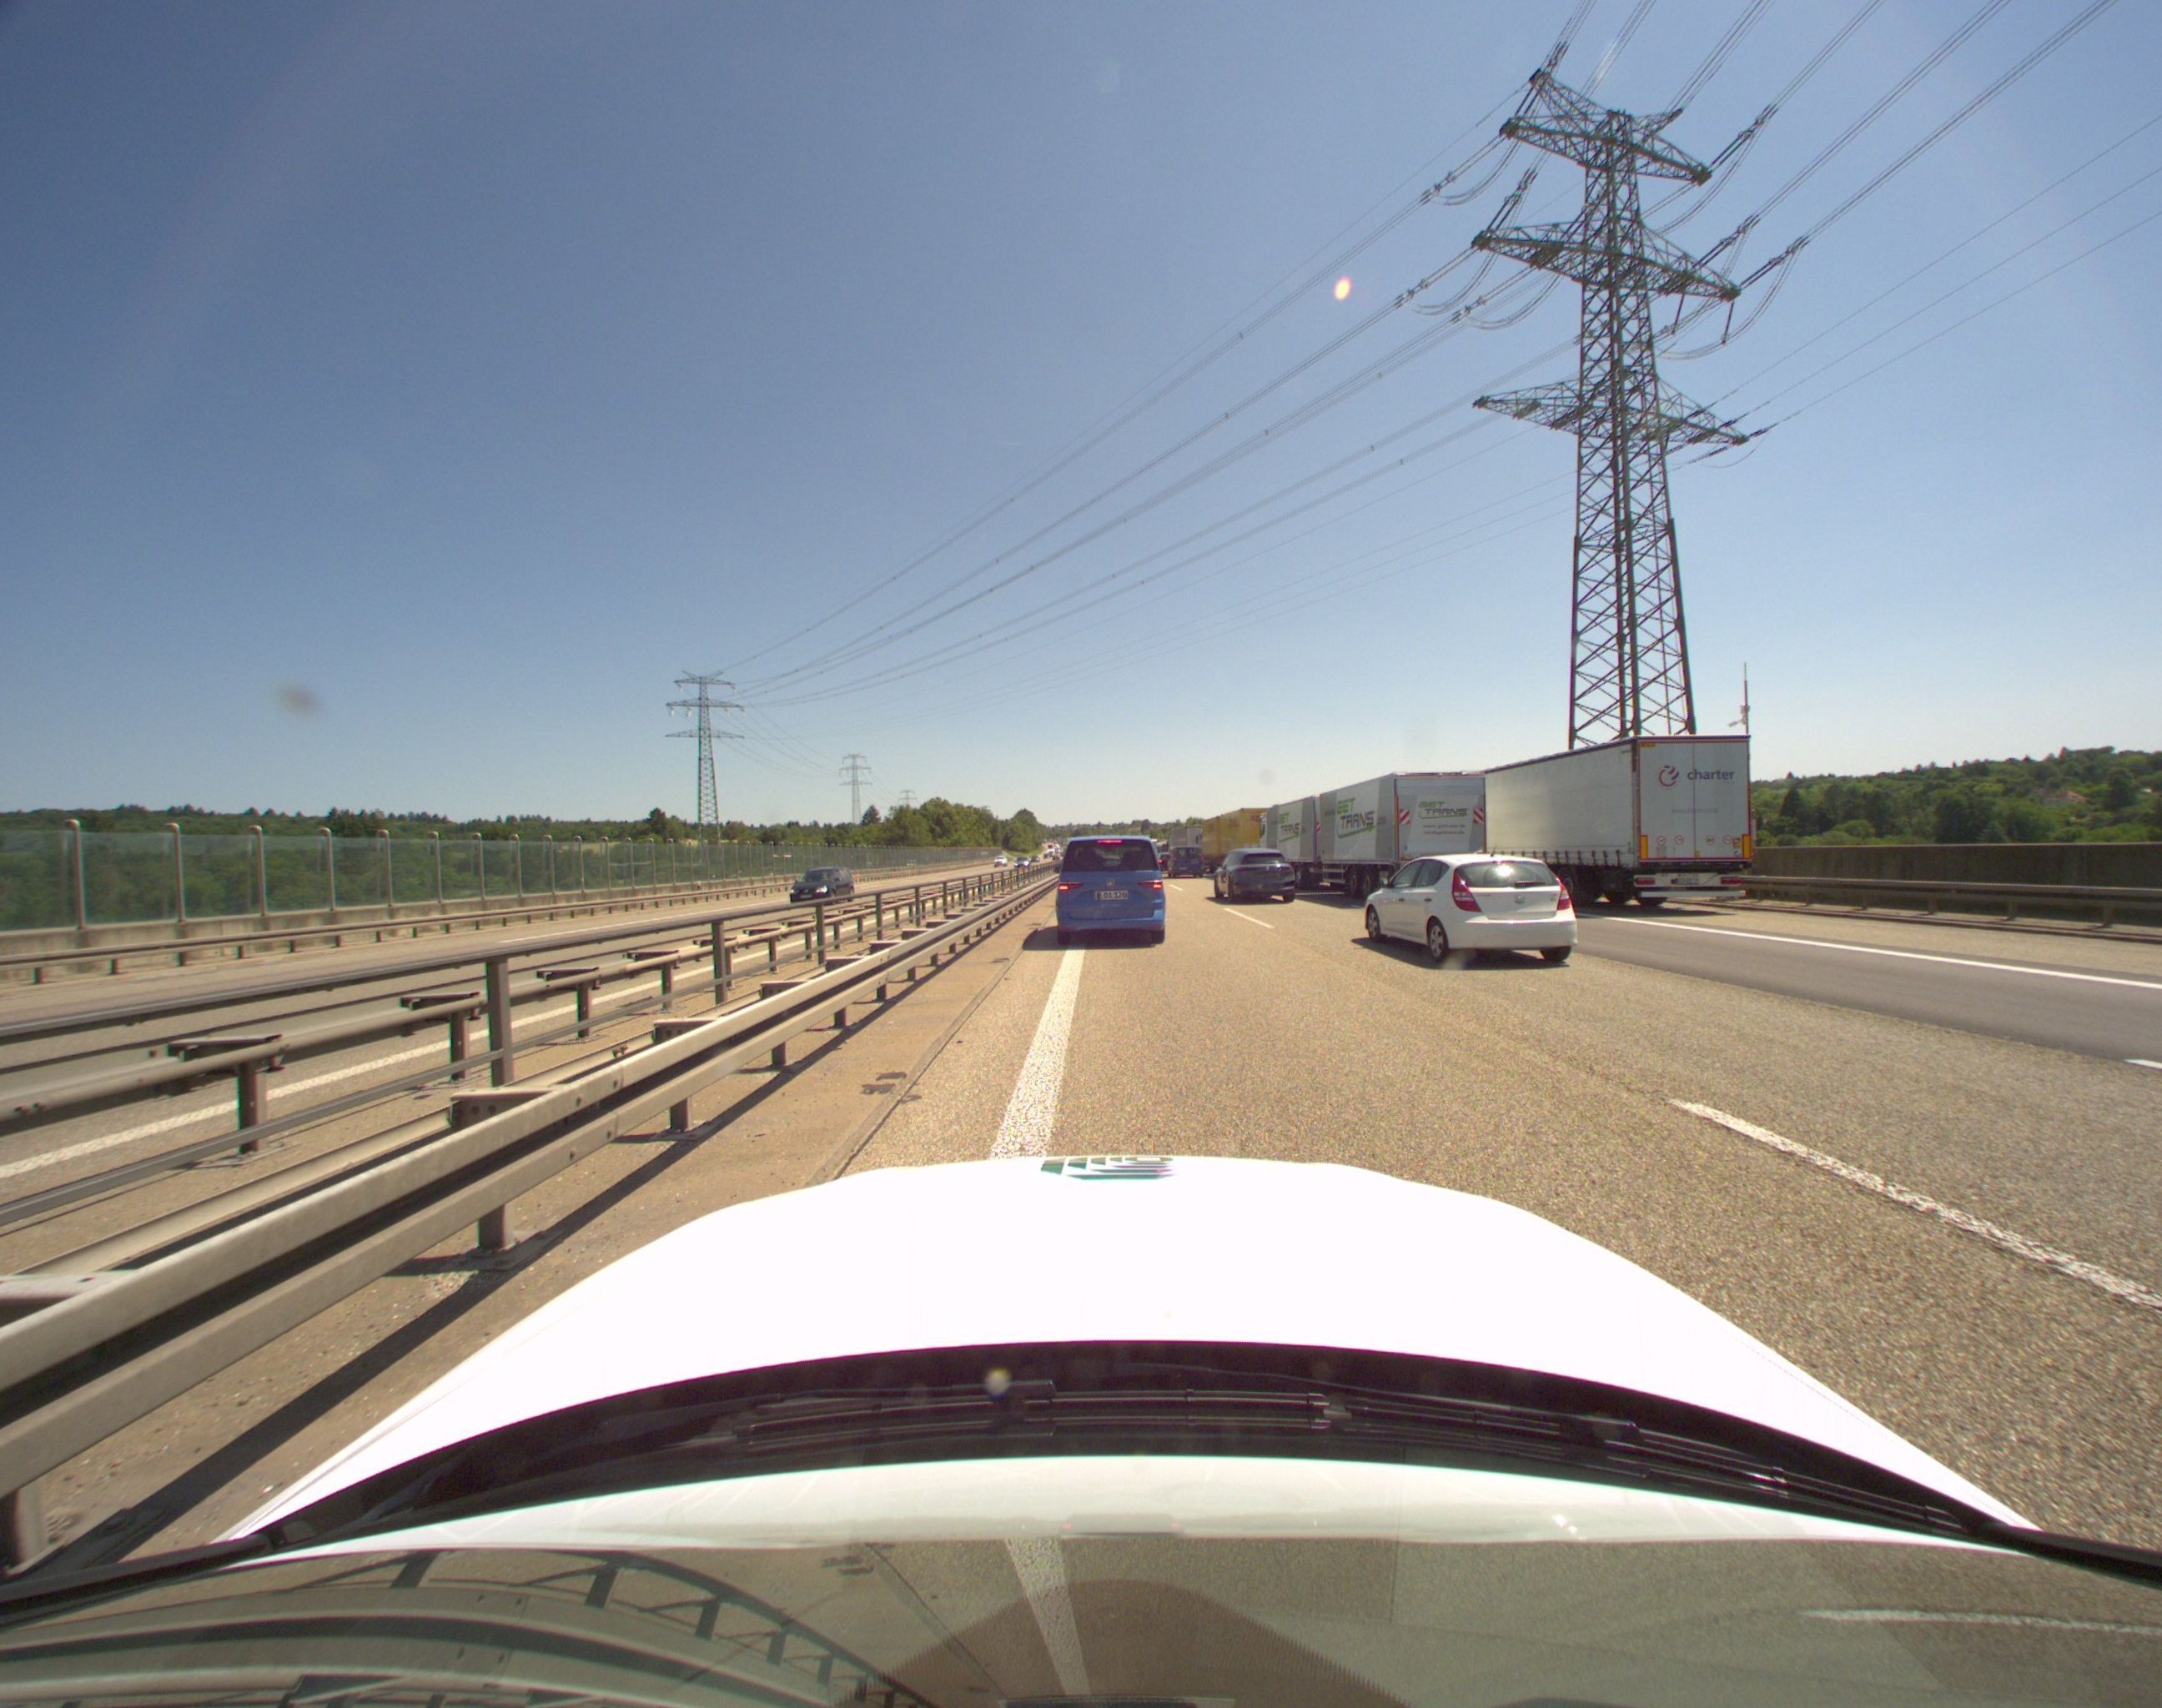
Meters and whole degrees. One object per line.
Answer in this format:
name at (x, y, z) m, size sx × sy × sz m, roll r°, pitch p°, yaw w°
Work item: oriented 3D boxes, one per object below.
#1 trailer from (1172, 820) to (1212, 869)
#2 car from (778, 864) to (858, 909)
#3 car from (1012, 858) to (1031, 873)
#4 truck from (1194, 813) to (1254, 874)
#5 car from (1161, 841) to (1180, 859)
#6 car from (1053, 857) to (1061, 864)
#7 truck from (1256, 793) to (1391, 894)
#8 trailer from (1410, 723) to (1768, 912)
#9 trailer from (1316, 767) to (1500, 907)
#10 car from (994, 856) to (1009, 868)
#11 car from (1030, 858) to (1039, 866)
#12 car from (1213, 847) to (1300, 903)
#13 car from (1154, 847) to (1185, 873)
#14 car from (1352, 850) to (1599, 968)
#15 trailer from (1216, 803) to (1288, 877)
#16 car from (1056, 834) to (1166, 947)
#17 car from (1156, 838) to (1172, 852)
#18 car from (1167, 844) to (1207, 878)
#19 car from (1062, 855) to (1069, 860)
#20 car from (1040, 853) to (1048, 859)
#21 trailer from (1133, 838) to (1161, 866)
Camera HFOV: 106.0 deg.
trailer at (10.818, -0.882, 80.348) m, size 2.627 × 4.516 × 11.304 m, roll 0°, pitch 0°, yaw 1°
car at (-11.322, 1.351, 35.356) m, size 1.987 × 1.672 × 4.186 m, roll -4°, pitch 0°, yaw 0°
car at (-7.164, 1.393, 97.821) m, size 1.799 × 1.627 × 4.478 m, roll -3°, pitch 0°, yaw 1°
truck at (10.607, -0.698, 61.591) m, size 2.826 × 4.243 × 11.012 m, roll 0°, pitch 0°, yaw 1°
car at (10.803, -0.461, 98.299) m, size 1.986 × 2.014 × 4.001 m, roll 0°, pitch -1°, yaw 1°
car at (-5.335, 1.436, 180.760) m, size 1.592 × 1.318 × 4.342 m, roll -3°, pitch 0°, yaw 1°
truck at (10.080, -0.391, 35.374) m, size 2.647 × 3.648 × 11.012 m, roll -1°, pitch 0°, yaw 1°
trailer at (13.870, -0.788, 24.614) m, size 2.705 × 4.141 × 13.428 m, roll 0°, pitch 0°, yaw 1°
trailer at (9.938, -0.458, 25.871) m, size 2.688 × 3.700 × 8.015 m, roll -1°, pitch 0°, yaw 1°
car at (-13.495, 1.350, 138.709) m, size 1.987 × 1.885 × 5.256 m, roll 1°, pitch 0°, yaw 1°
car at (-9.521, 1.604, 166.883) m, size 1.592 × 1.350 × 4.180 m, roll -4°, pitch 0°, yaw 1°
car at (5.596, 0.631, 26.460) m, size 1.955 × 1.644 × 4.294 m, roll -1°, pitch 0°, yaw 1°
car at (6.576, 0.457, 60.801) m, size 1.986 × 1.816 × 4.001 m, roll -1°, pitch 0°, yaw 1°
car at (5.726, 0.699, 12.497) m, size 1.782 × 1.455 × 4.294 m, roll -1°, pitch 0°, yaw 1°
trailer at (10.593, -0.794, 51.514) m, size 2.854 × 4.239 × 9.013 m, roll 0°, pitch -1°, yaw 1°
car at (0.547, 0.610, 15.504) m, size 1.813 × 1.857 × 4.076 m, roll 0°, pitch 0°, yaw 1°
car at (11.813, -1.261, 116.135) m, size 1.986 × 2.013 × 4.462 m, roll -2°, pitch 0°, yaw 1°
car at (6.513, 0.419, 50.554) m, size 1.955 × 1.993 × 4.294 m, roll -1°, pitch 0°, yaw 1°
car at (-4.656, 1.121, 245.093) m, size 1.784 × 1.478 × 3.990 m, roll -2°, pitch -1°, yaw 2°
car at (-10.134, 0.476, 222.590) m, size 1.724 × 1.491 × 4.420 m, roll -3°, pitch 0°, yaw 1°
trailer at (7.381, -0.144, 92.270) m, size 2.560 × 2.990 × 10.666 m, roll 0°, pitch 0°, yaw 2°
